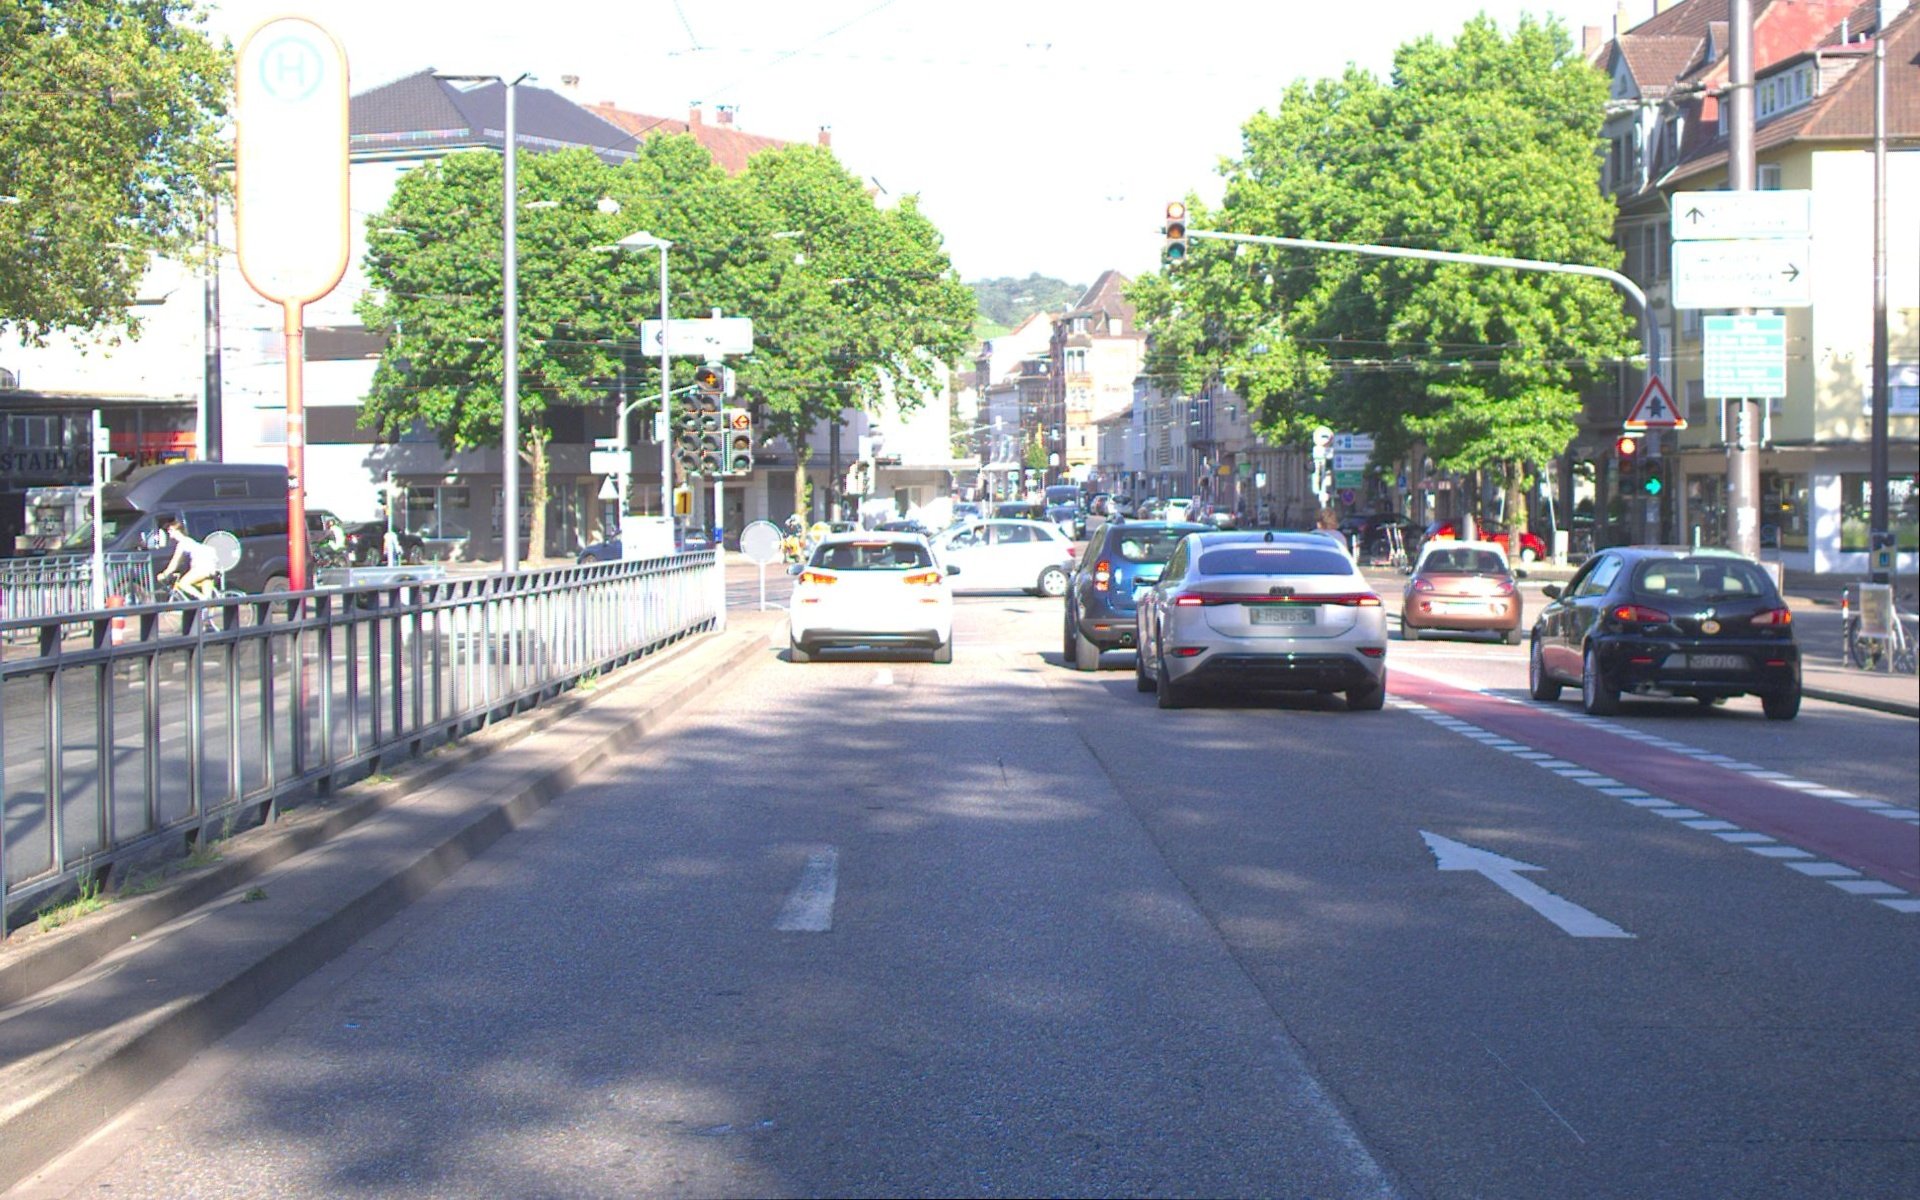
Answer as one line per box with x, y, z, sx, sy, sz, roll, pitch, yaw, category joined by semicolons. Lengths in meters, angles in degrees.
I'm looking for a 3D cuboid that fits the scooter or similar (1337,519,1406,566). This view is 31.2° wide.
11.420;-1.601;95.416;1.949;1.276;0.552;1;2;41;scooter or similar

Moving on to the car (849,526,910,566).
-3.065;-2.065;131.910;1.794;1.505;3.999;0;1;6;car

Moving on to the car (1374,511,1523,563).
14.382;-1.864;101.276;3.986;1.505;1.801;0;1;-9;car

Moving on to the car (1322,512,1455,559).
13.912;-2.107;111.655;3.986;1.505;1.800;0;1;-6;car

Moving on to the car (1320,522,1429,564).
15.192;-2.111;125.872;3.989;1.505;1.799;-1;2;-42;car

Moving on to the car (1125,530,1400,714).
2.560;0.131;30.193;1.929;1.467;4.855;0;1;-1;car

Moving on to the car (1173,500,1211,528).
12.823;-4.756;190.166;1.794;1.505;4.000;0;1;-1;car

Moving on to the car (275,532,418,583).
-18.589;-1.292;104.135;3.993;1.505;1.798;1;1;26;car

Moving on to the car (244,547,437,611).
-11.567;-0.387;64.275;2.071;1.158;2.906;1;0;38;car

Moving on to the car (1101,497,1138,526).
11.156;-6.213;240.569;2.327;2.007;4.977;0;1;-1;car

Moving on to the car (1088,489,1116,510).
10.137;-7.171;246.017;1.794;1.505;4.000;0;1;-1;car

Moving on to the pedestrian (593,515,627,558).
-12.101;-2.208;118.874;0.803;1.479;0.861;0;1;26;pedestrian

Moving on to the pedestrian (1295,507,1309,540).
17.400;-3.897;174.875;0.648;1.645;0.650;1;0;10;pedestrian

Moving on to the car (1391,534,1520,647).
7.293;-0.170;50.640;1.795;1.505;3.999;1;2;8;car

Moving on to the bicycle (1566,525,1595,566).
17.185;-1.518;95.225;0.609;1.104;1.800;0;1;4;bicycle

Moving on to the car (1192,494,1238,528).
13.603;-4.739;183.637;2.105;1.770;4.342;0;1;-1;car

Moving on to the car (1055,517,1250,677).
2.035;-0.080;37.327;1.800;1.632;4.045;0;1;-1;car

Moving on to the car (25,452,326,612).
-13.875;-1.167;61.061;2.071;2.733;5.020;1;0;38;car

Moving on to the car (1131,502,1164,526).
11.760;-5.380;215.558;1.794;1.517;4.000;0;1;-1;car

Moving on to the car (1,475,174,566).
-30.798;-2.818;121.629;2.499;3.154;6.528;0;1;22;car

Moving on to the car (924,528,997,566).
0.025;-2.152;139.973;1.796;1.505;3.996;0;1;18;car

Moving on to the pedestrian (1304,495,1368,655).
4.412;-0.297;40.365;0.657;1.864;0.678;0;1;-1;pedestrian

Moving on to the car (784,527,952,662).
-1.041;-0.103;39.211;1.808;1.447;4.000;0;1;-1;car

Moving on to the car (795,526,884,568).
-4.400;-1.946;125.919;1.726;1.505;3.871;0;1;24;car

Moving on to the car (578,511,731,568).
-8.232;-1.651;92.558;3.996;1.505;1.796;1;2;40;car

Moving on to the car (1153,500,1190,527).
12.069;-4.915;196.324;1.794;1.505;4.000;0;1;-1;car

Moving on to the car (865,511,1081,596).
0.254;-0.958;70.862;4.146;1.686;1.822;0;1;-11;car

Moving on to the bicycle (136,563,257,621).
-11.024;-0.120;49.669;1.611;0.813;0.527;0;1;2;bicycle

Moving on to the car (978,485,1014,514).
1.921;-5.405;184.889;1.794;1.505;4.001;0;1;-2;car

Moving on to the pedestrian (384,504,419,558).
-18.360;-2.256;113.005;0.837;1.765;0.781;0;1;25;pedestrian

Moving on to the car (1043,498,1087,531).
4.936;-4.023;162.000;1.794;1.505;4.001;0;1;-2;car

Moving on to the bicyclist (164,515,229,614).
-11.023;-0.515;49.661;0.800;1.409;0.527;0;1;2;bicyclist

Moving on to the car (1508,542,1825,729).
5.960;0.249;29.460;1.800;1.434;4.045;1;1;-1;car

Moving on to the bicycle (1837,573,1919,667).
10.807;0.222;40.407;0.498;1.071;1.800;1;0;-1;bicycle

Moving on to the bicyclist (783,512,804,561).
-5.894;-2.255;121.538;0.468;1.739;0.716;0;1;23;bicyclist
